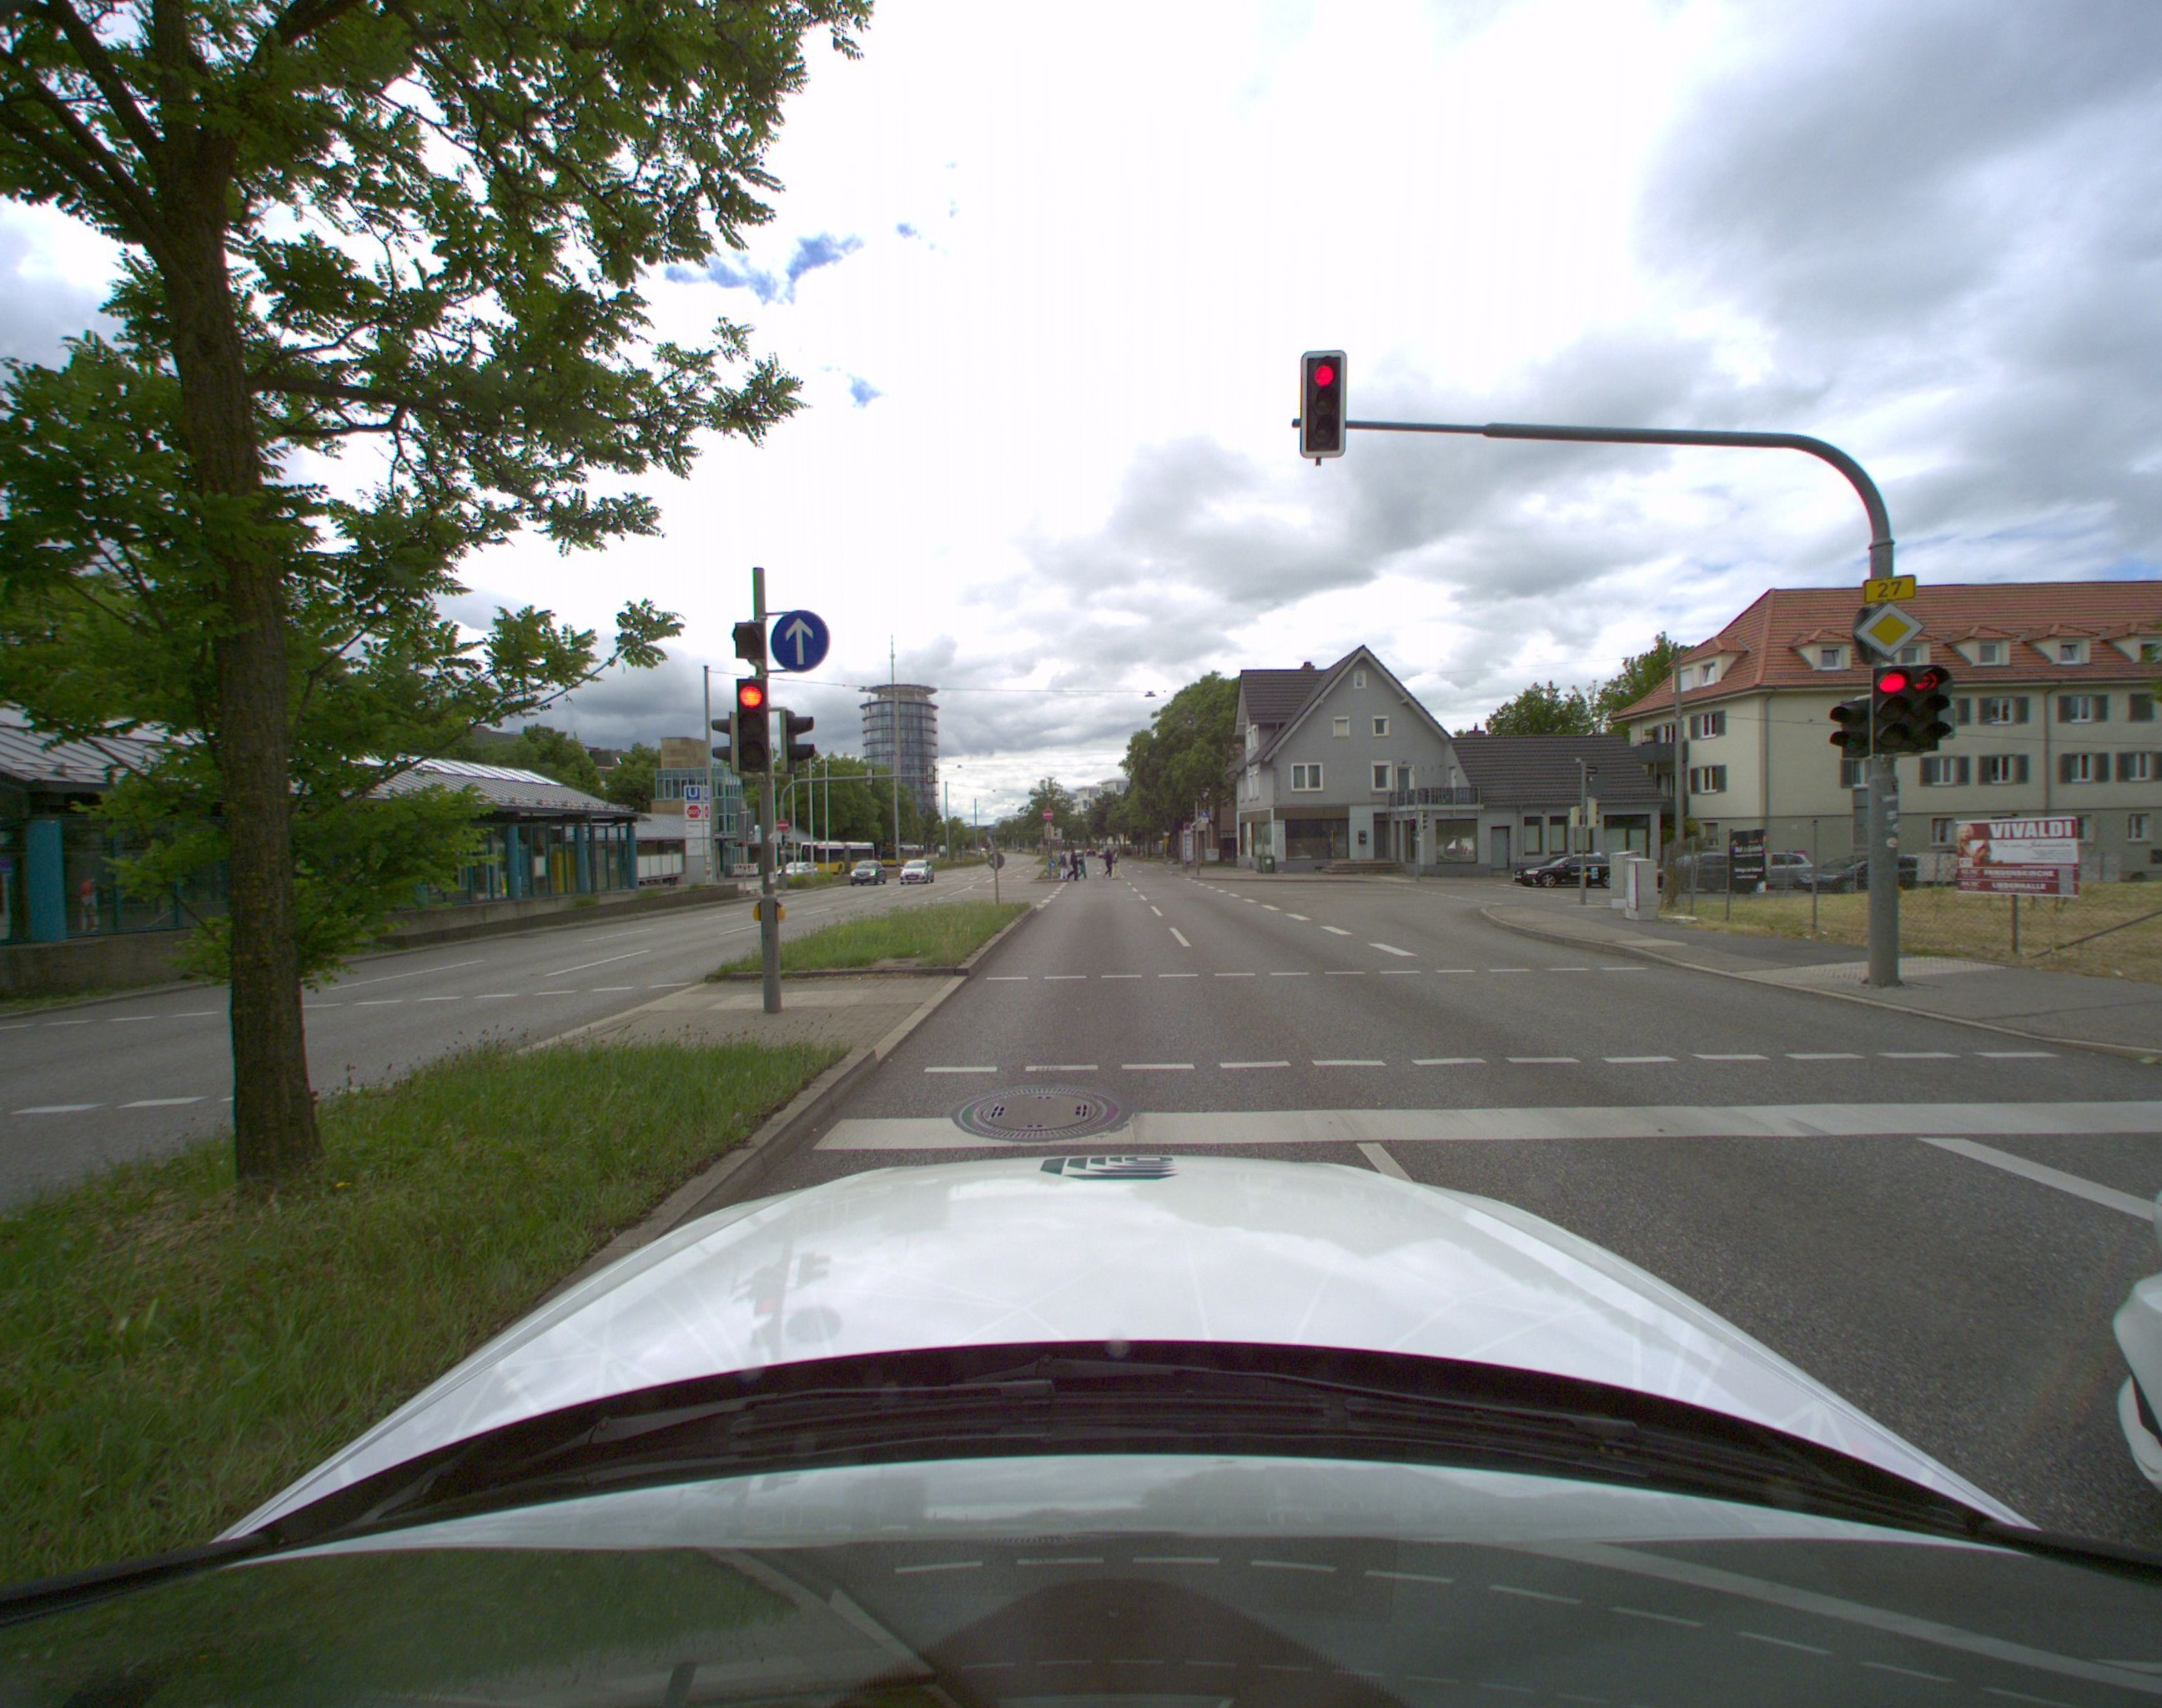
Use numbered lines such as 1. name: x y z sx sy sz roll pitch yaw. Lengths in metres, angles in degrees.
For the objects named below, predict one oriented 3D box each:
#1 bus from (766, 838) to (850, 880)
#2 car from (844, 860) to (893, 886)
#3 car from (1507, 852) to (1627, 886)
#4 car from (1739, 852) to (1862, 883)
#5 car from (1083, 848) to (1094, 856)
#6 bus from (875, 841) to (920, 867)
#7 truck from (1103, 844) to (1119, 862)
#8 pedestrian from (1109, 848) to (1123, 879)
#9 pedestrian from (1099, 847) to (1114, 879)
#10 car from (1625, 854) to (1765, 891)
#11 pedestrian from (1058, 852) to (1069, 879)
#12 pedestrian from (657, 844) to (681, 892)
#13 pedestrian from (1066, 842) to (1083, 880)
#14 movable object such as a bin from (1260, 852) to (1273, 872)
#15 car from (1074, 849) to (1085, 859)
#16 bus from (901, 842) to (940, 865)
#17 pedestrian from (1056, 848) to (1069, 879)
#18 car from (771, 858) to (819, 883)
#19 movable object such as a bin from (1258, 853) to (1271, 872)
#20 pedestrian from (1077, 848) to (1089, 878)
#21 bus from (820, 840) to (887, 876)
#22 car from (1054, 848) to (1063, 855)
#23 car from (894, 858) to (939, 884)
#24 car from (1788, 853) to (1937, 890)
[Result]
1. bus: -24.236 0.389 73.114 2.817 3.430 10.750 -2 0 6
2. car: -13.460 1.179 51.797 1.987 1.486 4.000 -2 0 0
3. car: 20.669 0.630 34.736 4.075 1.371 1.800 0 0 0
4. car: 32.848 0.606 37.241 4.075 1.371 1.800 0 0 0
5. car: 1.483 -0.459 161.009 1.986 1.552 4.001 0 0 1
6. bus: -25.711 0.037 114.929 2.817 3.430 10.750 -2 0 6
7. truck: 4.693 -0.231 126.622 2.461 2.611 6.551 0 1 2
8. pedestrian: 1.929 0.510 45.269 0.652 1.716 0.451 -2 0 -6
9. pedestrian: 1.444 0.506 45.776 0.744 1.716 0.582 -2 0 -6
10. car: 23.583 0.691 31.374 4.075 1.371 1.800 0 0 0
11. pedestrian: -0.955 0.634 44.888 0.542 1.496 0.486 -2 0 -5
12. pedestrian: -17.548 0.588 34.688 0.680 2.013 0.645 -2 0 -3
13. pedestrian: -0.363 0.392 44.103 0.829 2.013 0.545 -2 0 -6
14. movable object such as a bin: 9.985 0.440 43.835 0.602 1.059 0.590 0 0 3
15. car: -0.346 0.024 156.691 1.986 1.830 4.001 -1 0 1
16. bus: -24.633 -0.080 125.652 2.817 3.430 10.750 -2 0 6
17. pedestrian: -1.042 0.508 45.661 0.611 1.716 0.545 -2 0 -5
18. car: -20.592 1.175 58.830 1.798 1.662 4.003 -2 0 3
19. movable object such as a bin: 9.981 0.474 44.380 0.613 1.043 0.590 0 0 3
20. pedestrian: 0.109 0.515 47.109 0.582 1.716 0.545 -2 0 -5
21. bus: -23.177 0.363 83.685 2.817 3.430 10.750 -2 0 6
22. car: -4.872 -0.577 176.517 1.988 1.519 3.997 -2 0 -2
23. car: -10.319 1.041 51.342 1.987 1.486 4.000 -2 0 0
24. car: 30.260 0.671 31.611 4.075 1.371 1.800 0 0 0
